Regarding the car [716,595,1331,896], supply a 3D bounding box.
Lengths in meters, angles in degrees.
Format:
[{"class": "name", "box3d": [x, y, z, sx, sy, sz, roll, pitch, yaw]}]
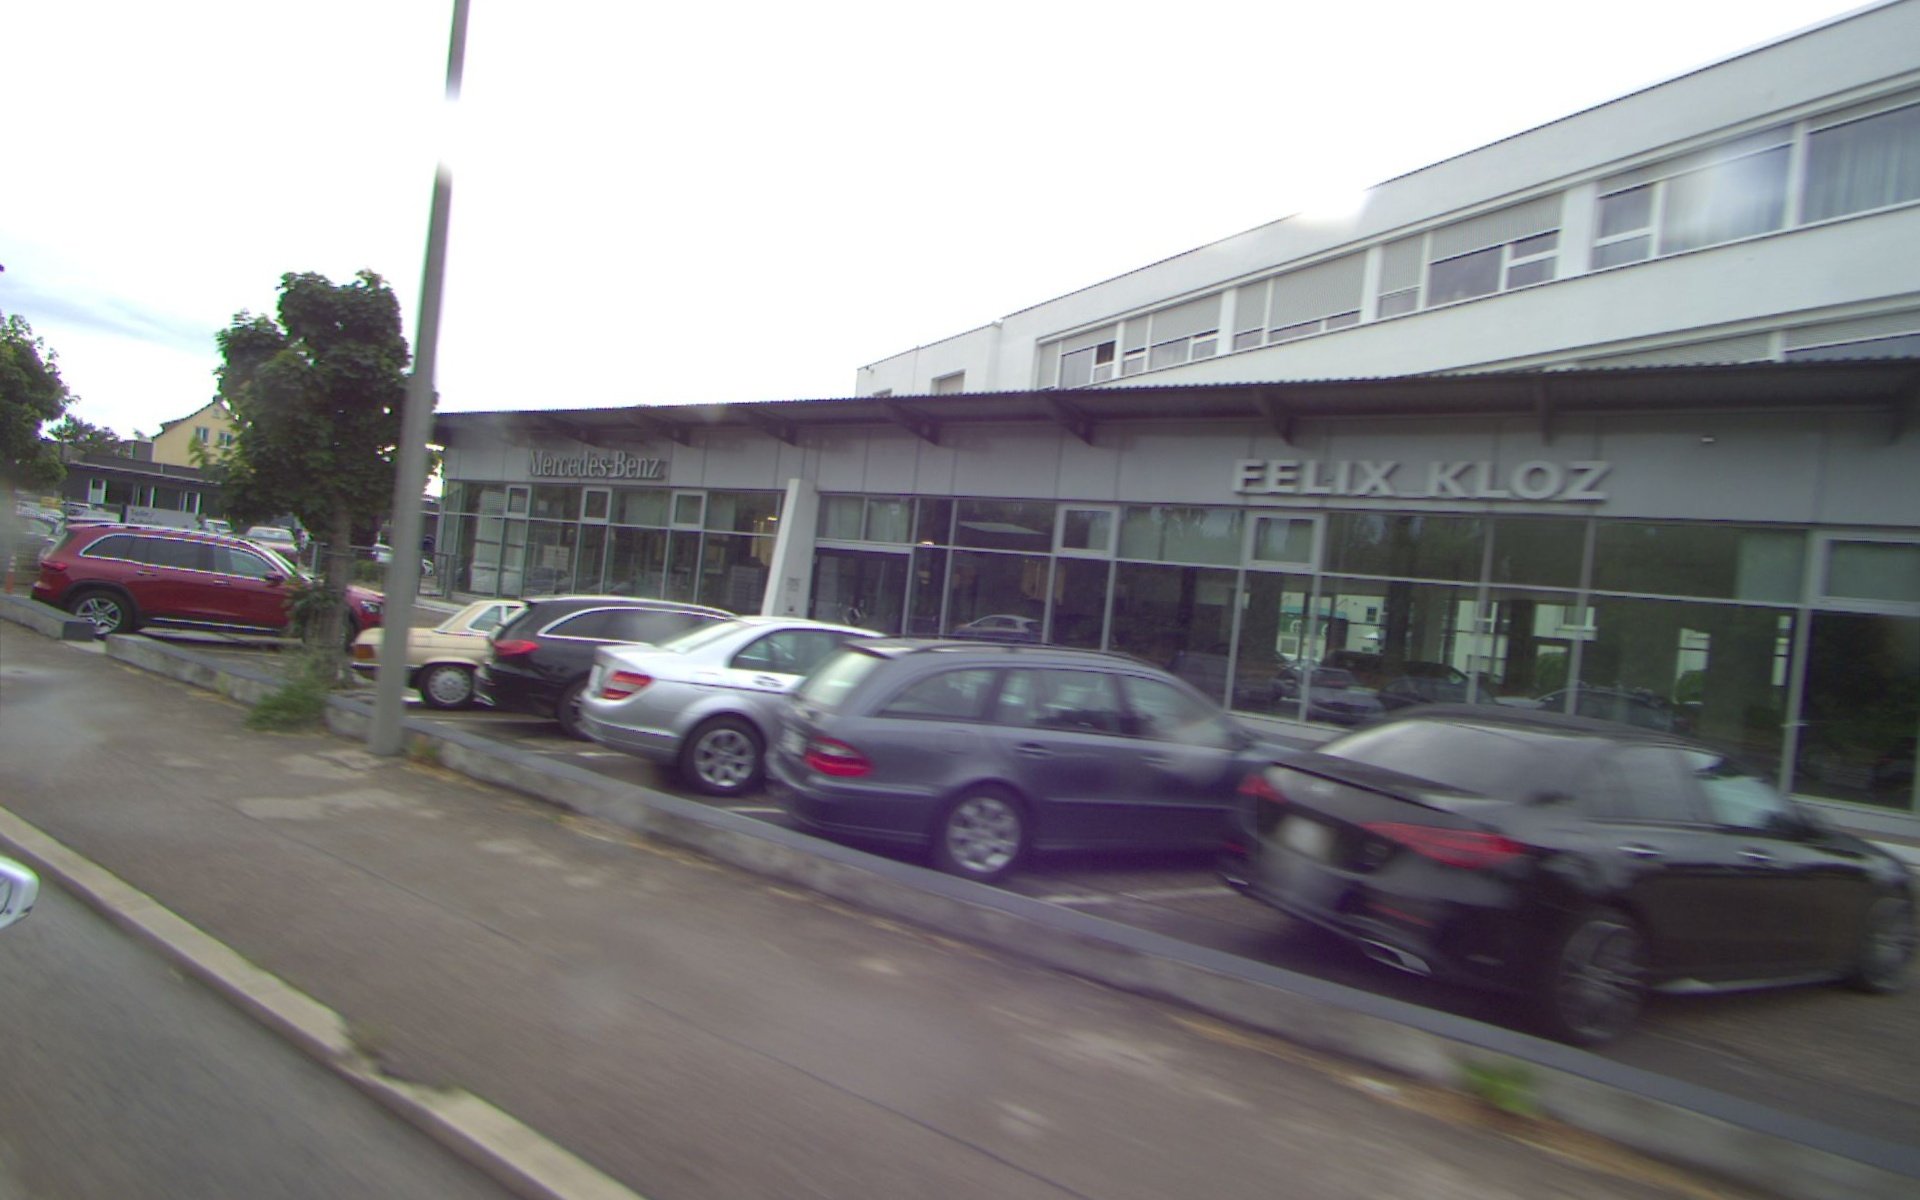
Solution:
[{"class": "car", "box3d": [0.432, 1.058, 7.371, 3.948, 1.572, 1.891, 9, -4, -22]}]

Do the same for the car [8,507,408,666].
[{"class": "car", "box3d": [-11.499, -0.117, 15.927, 4.648, 1.680, 1.987, 10, -4, -29]}]

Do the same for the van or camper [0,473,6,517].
[{"class": "van or camper", "box3d": [-57.492, -6.326, 58.414, 2.030, 2.625, 6.525, 7, 0, -36]}]

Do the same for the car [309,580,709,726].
[{"class": "car", "box3d": [-5.491, 0.699, 12.562, 4.188, 1.315, 1.724, 8, -3, -29]}]

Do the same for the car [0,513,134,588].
[{"class": "car", "box3d": [-22.753, -1.334, 24.110, 1.970, 1.384, 4.114, 5, -5, 36]}]

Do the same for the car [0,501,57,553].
[{"class": "car", "box3d": [-31.567, -2.554, 32.041, 1.767, 1.418, 3.982, 4, -5, 45]}]

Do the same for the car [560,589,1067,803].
[{"class": "car", "box3d": [-1.324, 0.876, 9.130, 4.120, 1.485, 1.827, 6, -1, -24]}]

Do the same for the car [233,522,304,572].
[{"class": "car", "box3d": [-26.178, -1.957, 38.182, 1.983, 1.435, 3.967, 10, -4, -34]}]

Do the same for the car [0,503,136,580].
[{"class": "car", "box3d": [-25.887, -1.722, 27.973, 1.941, 1.615, 4.175, 5, -5, 39]}]

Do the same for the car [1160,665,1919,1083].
[{"class": "car", "box3d": [3.587, 1.428, 5.867, 4.390, 1.497, 1.922, 8, -1, -27]}]

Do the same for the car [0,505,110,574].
[{"class": "car", "box3d": [-24.638, -1.706, 25.775, 1.568, 1.423, 3.996, 5, -4, 34]}]

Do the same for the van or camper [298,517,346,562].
[{"class": "van or camper", "box3d": [-36.162, -3.375, 57.108, 1.981, 1.959, 5.390, 9, -4, -31]}]

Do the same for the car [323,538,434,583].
[{"class": "car", "box3d": [-28.921, -1.935, 50.184, 4.604, 1.415, 1.708, 10, -4, -30]}]

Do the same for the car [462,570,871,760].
[{"class": "car", "box3d": [-3.259, 0.752, 11.240, 3.928, 1.508, 1.963, 10, -4, -29]}]

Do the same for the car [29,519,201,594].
[{"class": "car", "box3d": [-20.054, -1.018, 23.917, 1.970, 1.462, 2.717, 5, 0, 37]}]

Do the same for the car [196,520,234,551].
[{"class": "car", "box3d": [-44.444, -3.864, 60.094, 1.628, 1.591, 3.363, 7, 0, -36]}]

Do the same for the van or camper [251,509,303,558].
[{"class": "van or camper", "box3d": [-42.472, -4.133, 62.669, 2.317, 2.588, 5.689, 7, 0, -33]}]

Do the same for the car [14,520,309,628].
[{"class": "car", "box3d": [-15.312, -0.461, 19.616, 4.118, 1.458, 1.798, 8, -1, -28]}]
